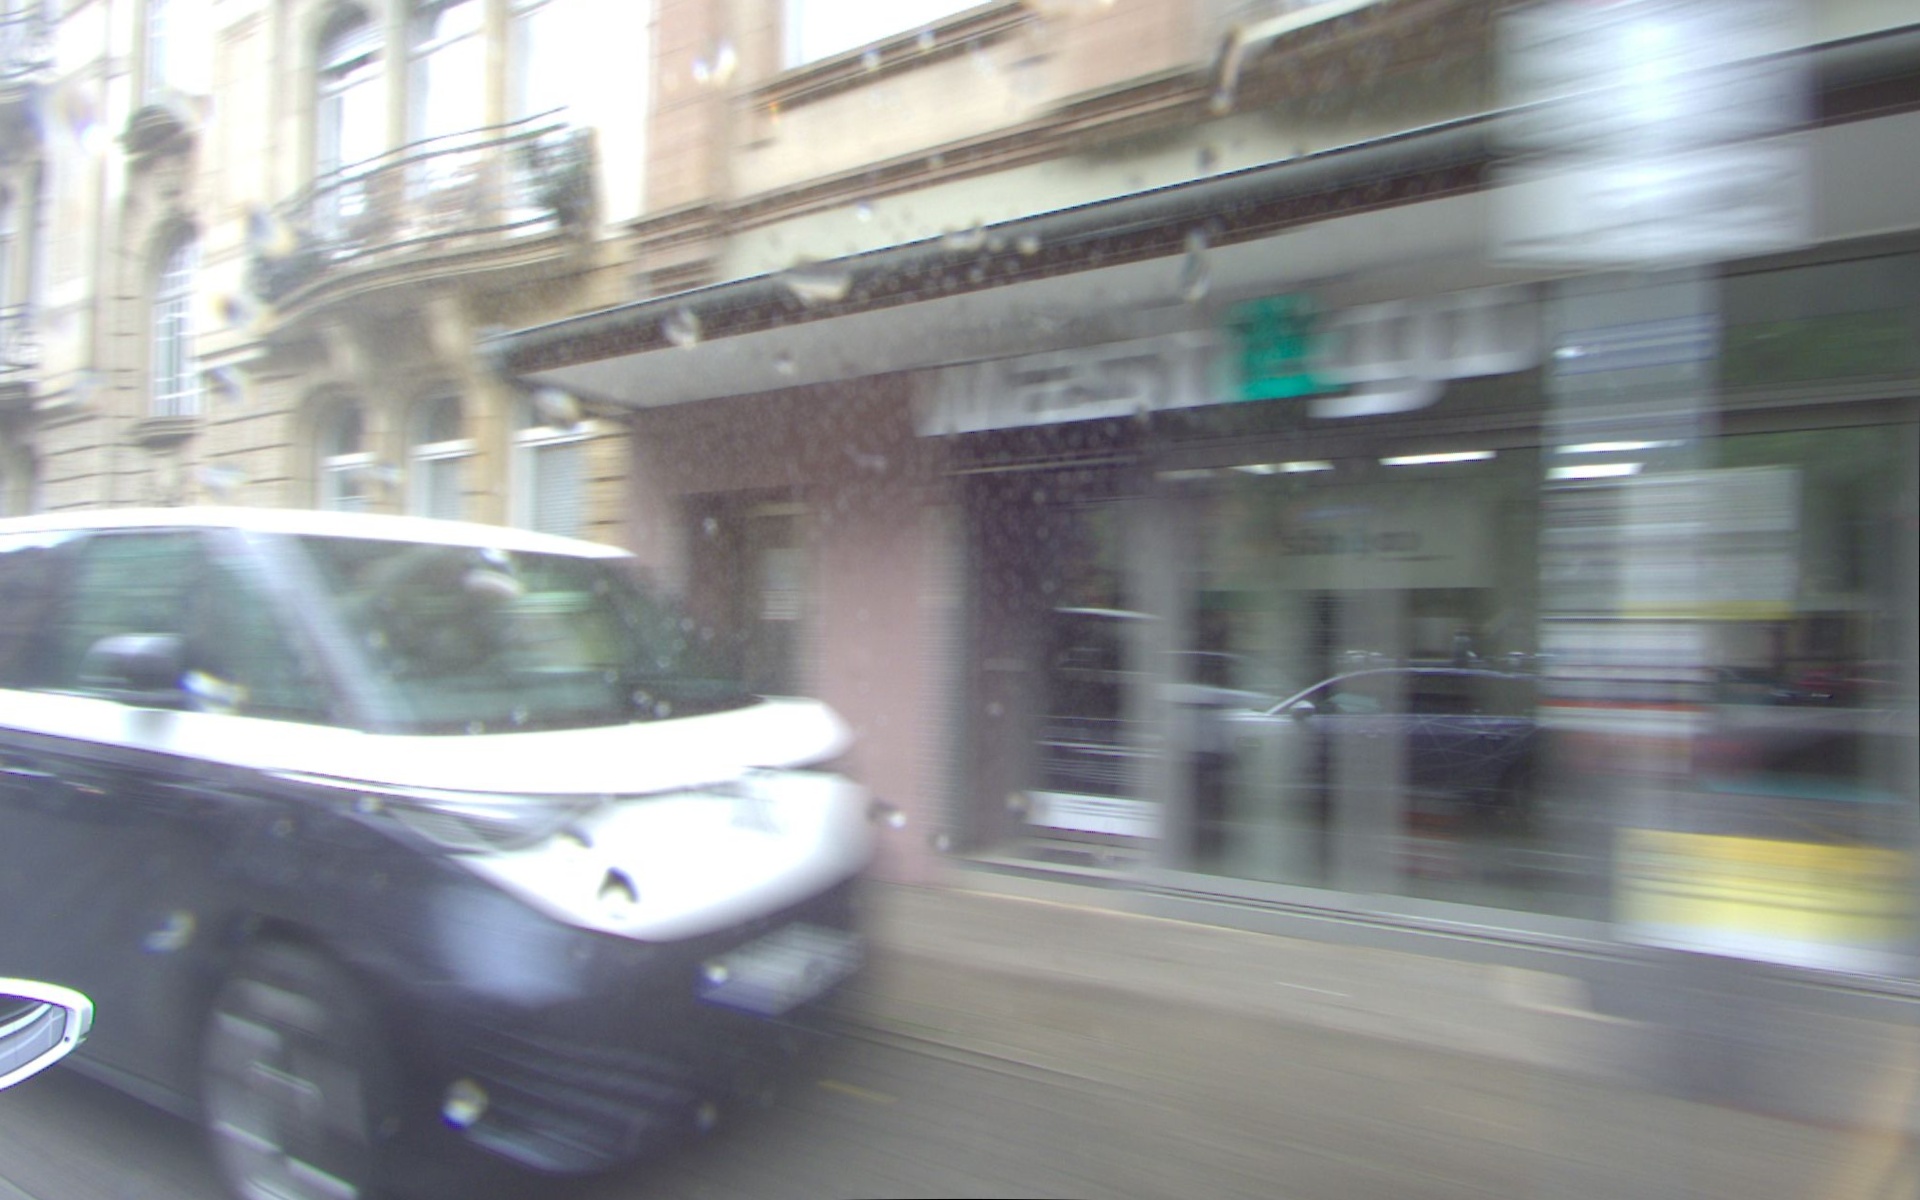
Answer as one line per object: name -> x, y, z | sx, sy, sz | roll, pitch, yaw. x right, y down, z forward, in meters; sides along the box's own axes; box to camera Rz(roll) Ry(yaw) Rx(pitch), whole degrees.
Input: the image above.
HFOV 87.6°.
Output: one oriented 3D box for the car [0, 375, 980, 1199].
car -> -2.662, 0.600, 3.963 | 5.147, 1.964, 1.993 | -1, -1, 27
